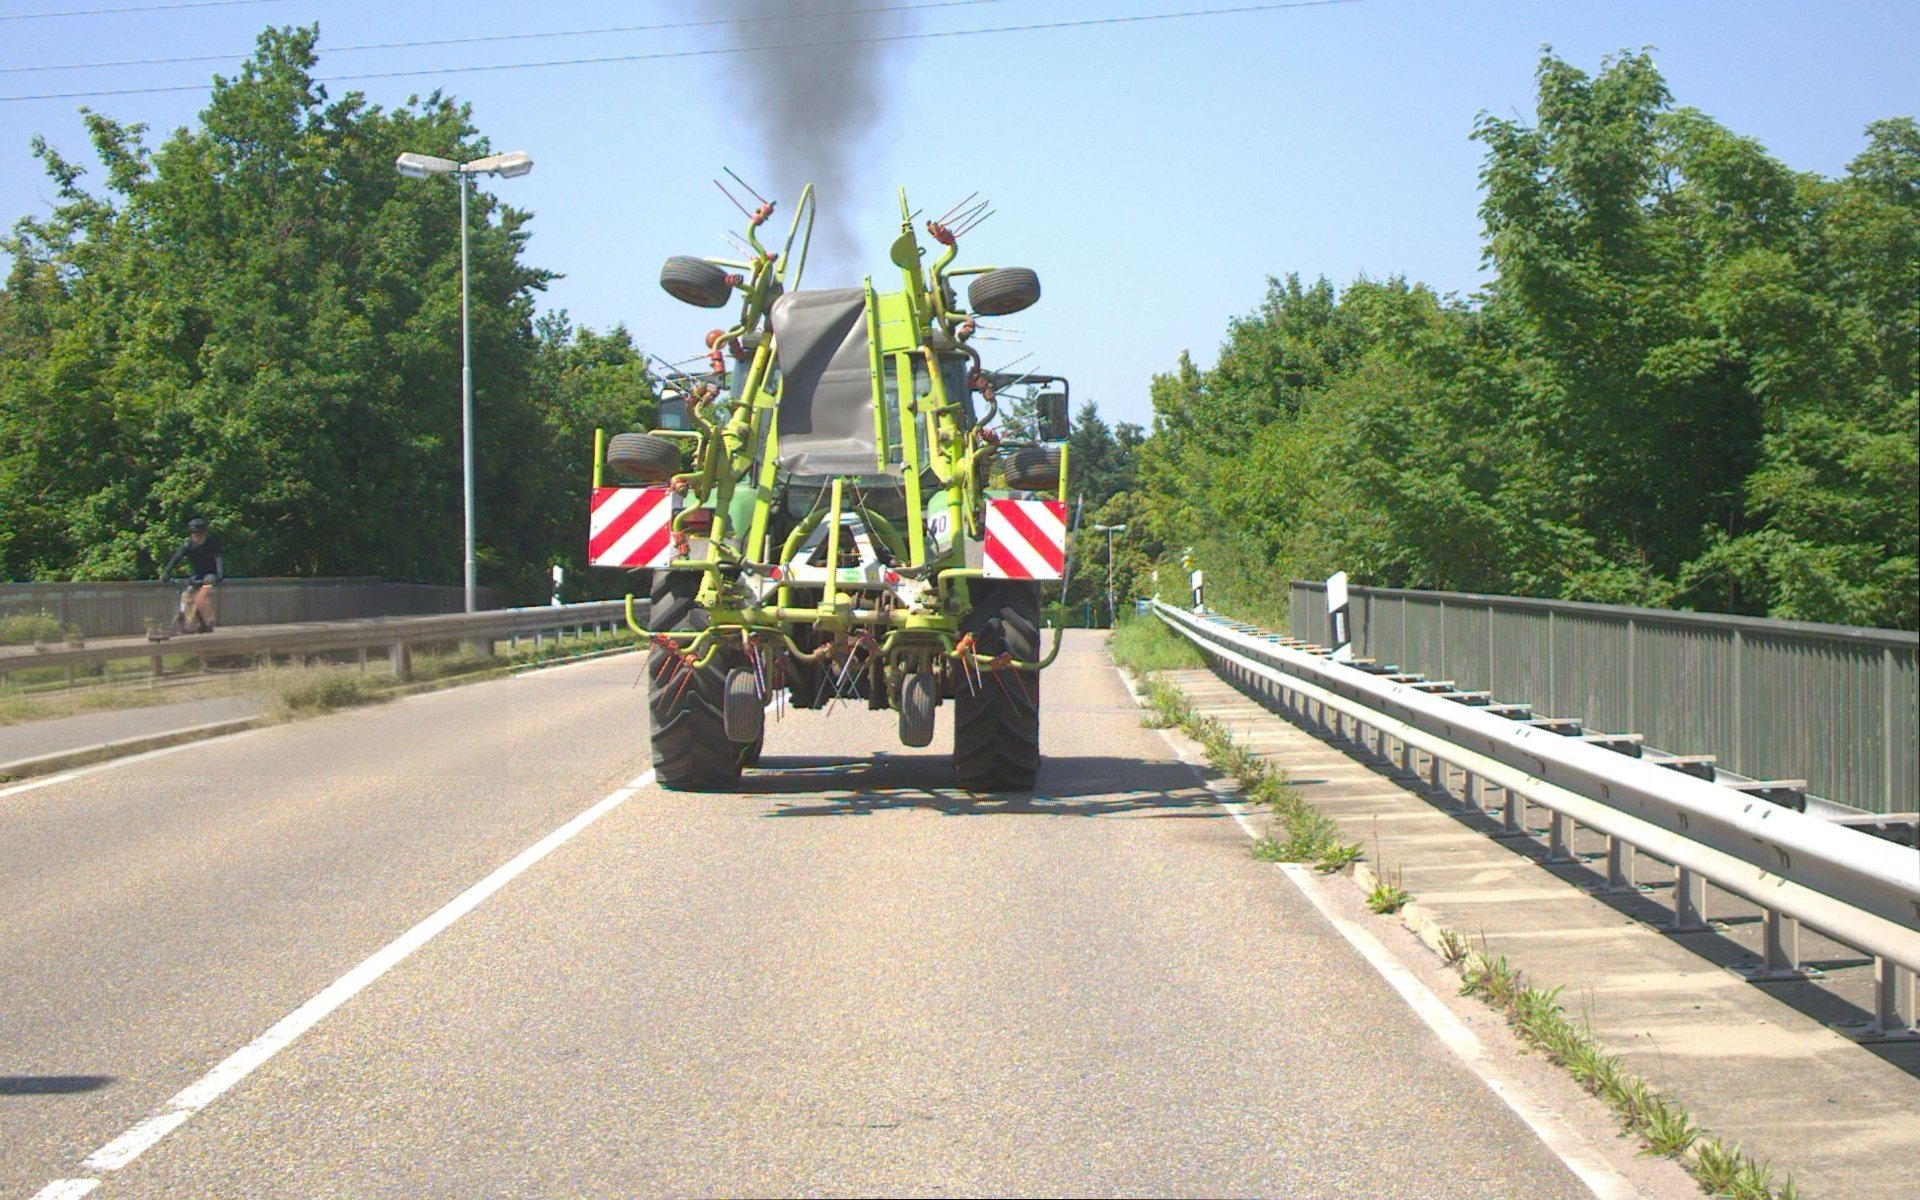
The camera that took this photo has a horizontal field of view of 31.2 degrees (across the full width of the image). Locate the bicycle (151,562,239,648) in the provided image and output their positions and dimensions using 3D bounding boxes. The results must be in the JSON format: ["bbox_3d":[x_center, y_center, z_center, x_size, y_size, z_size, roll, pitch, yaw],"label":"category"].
[{"bbox_3d":[-9.657,0.050,43.460,0.677,0.998,2.119,-1,2,-1],"label":"bicycle"}]

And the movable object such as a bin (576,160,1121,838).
[{"bbox_3d":[-0.647,-0.604,20.303,2.755,3.432,5.671,0,2,-2],"label":"movable object such as a bin"}]

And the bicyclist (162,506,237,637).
[{"bbox_3d":[-9.616,-0.366,43.474,0.765,1.628,0.895,0,2,-1],"label":"bicyclist"}]
